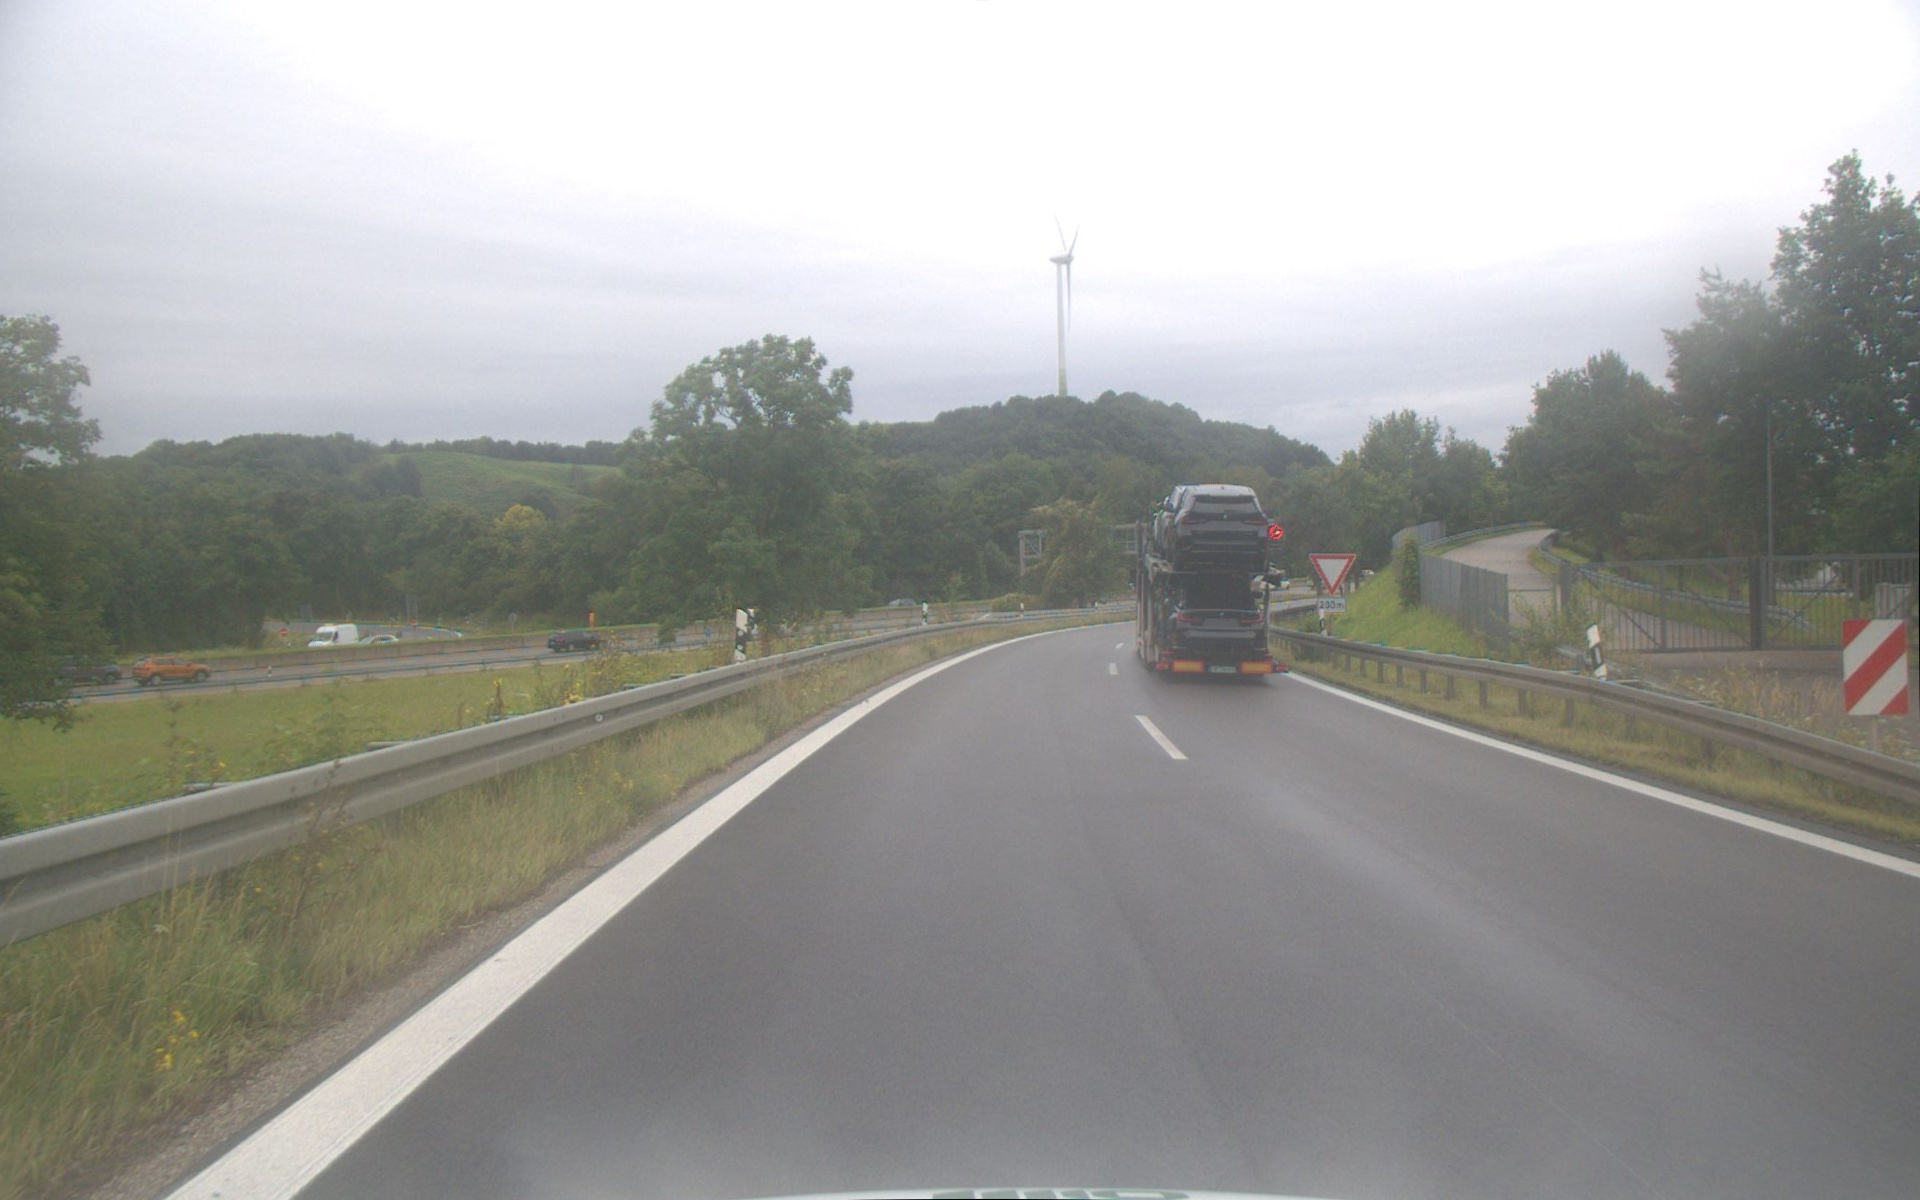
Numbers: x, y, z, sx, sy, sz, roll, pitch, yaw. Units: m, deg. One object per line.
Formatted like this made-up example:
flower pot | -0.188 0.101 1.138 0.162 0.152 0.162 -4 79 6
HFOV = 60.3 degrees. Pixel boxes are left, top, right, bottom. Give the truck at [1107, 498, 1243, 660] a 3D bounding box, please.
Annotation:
truck | 5.986 -0.532 47.839 3.323 4.069 10.853 1 0 5

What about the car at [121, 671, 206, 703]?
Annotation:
car | -46.440 5.062 96.454 1.896 1.299 3.981 -6 0 40

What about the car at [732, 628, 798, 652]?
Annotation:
car | -15.327 3.116 130.165 1.963 1.747 5.295 -1 0 40

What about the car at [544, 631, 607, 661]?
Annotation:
car | -27.928 3.343 120.325 1.963 1.746 3.981 -6 0 40

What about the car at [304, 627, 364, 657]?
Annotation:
car | -54.235 3.598 143.492 1.977 2.139 5.970 -5 1 10

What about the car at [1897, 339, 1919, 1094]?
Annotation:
car | 4.060 0.386 2.229 2.067 2.304 5.894 1 0 -2

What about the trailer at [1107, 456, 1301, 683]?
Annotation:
trailer | 4.998 -0.552 36.283 3.376 4.069 12.033 1 0 5
